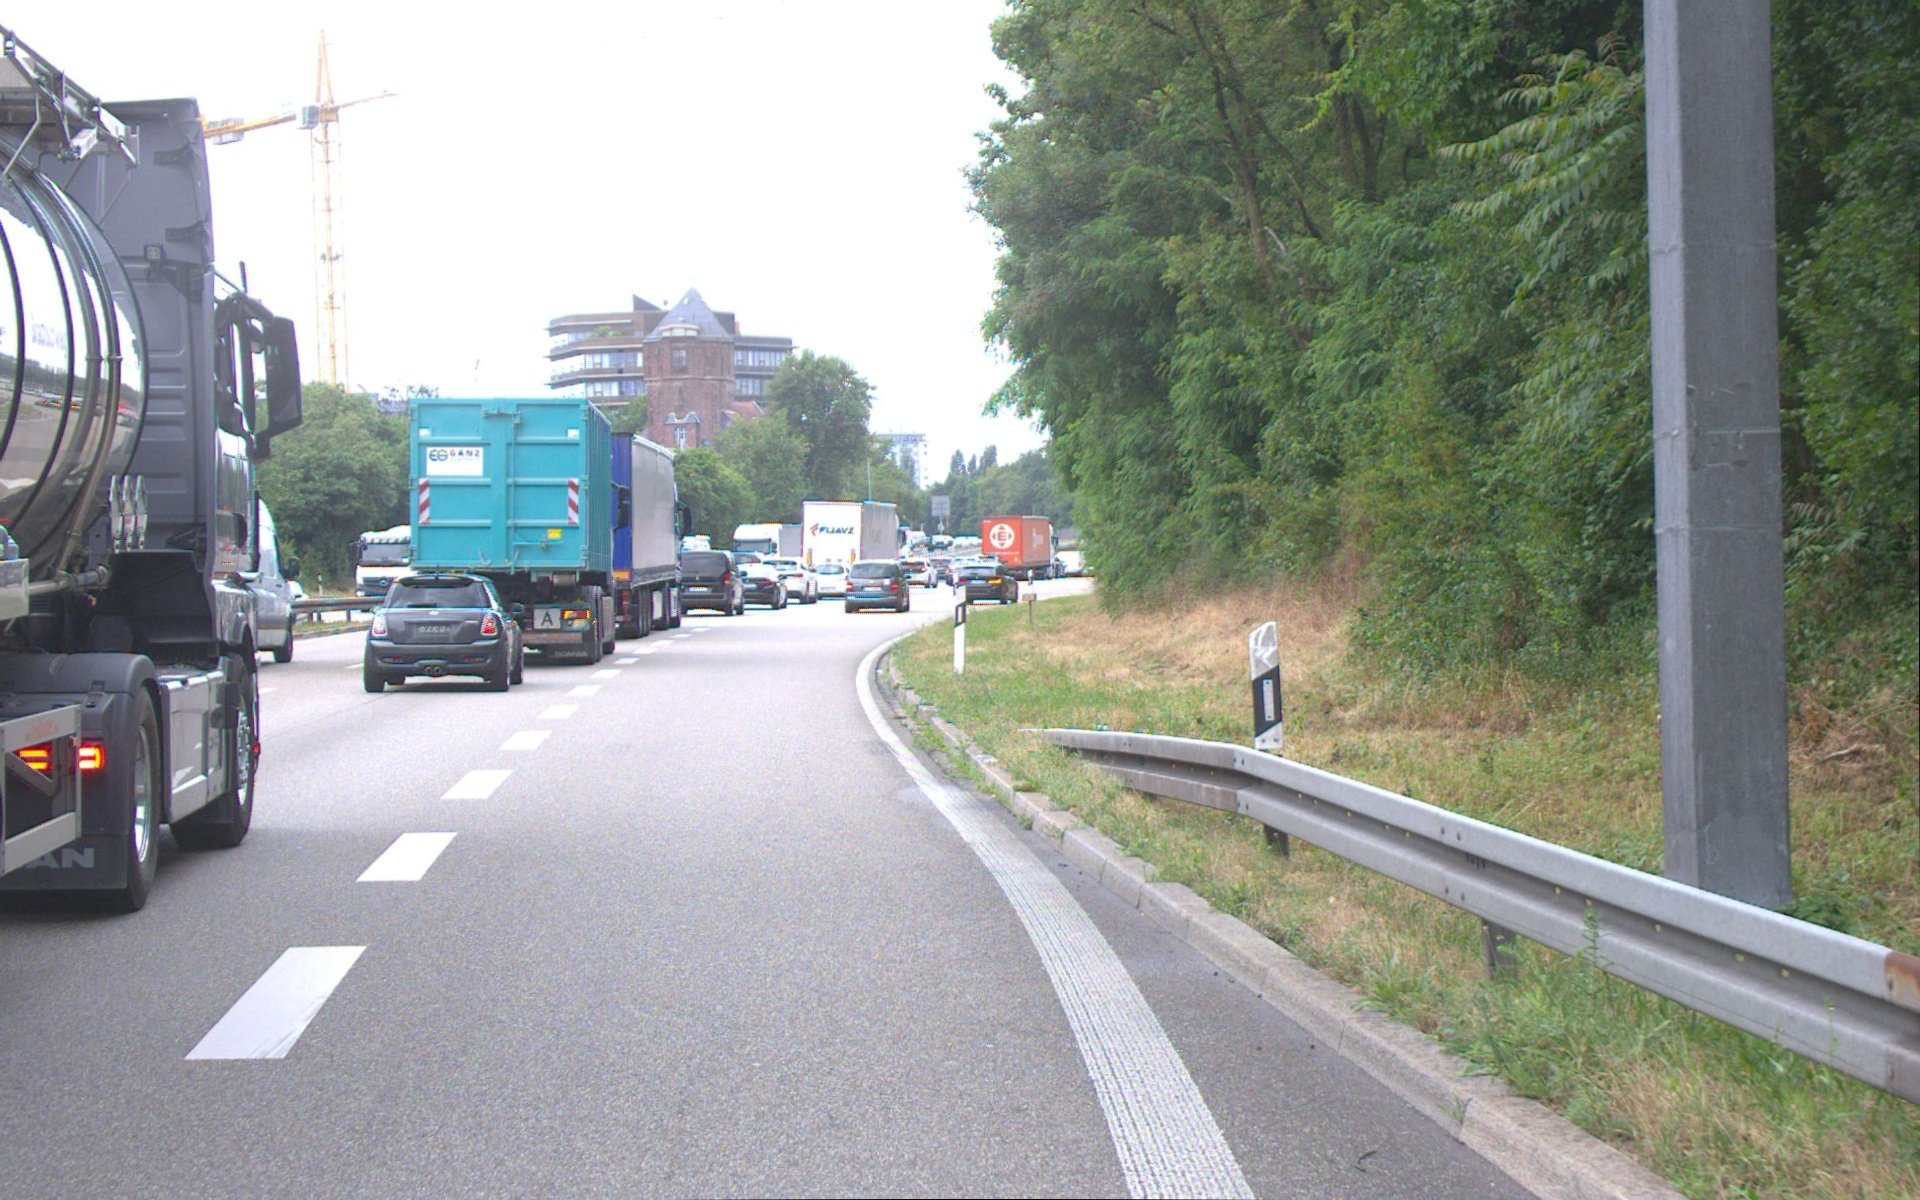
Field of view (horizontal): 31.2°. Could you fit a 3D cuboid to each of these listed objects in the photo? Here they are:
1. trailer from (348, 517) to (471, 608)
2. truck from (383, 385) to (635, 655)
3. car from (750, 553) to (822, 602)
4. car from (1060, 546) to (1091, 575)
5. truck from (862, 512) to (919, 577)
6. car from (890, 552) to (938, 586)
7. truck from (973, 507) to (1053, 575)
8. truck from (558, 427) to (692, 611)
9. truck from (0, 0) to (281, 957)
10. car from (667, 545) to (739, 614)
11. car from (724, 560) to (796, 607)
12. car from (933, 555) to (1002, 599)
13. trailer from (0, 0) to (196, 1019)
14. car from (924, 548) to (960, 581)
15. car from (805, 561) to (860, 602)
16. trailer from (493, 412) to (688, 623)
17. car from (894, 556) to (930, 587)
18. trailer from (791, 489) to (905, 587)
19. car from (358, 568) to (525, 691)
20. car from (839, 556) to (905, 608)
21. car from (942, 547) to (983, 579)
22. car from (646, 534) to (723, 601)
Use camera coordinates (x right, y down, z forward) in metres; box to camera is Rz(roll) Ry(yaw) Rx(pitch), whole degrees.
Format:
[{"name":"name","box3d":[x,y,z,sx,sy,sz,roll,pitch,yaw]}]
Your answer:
[{"name":"trailer","box3d":[-21.669,-1.506,135.946,2.470,3.384,12.463,-1,1,1]},{"name":"truck","box3d":[-6.995,-1.228,54.908,2.929,3.783,11.332,-2,1,-3]},{"name":"car","box3d":[-6.255,-0.829,124.129,1.956,1.689,4.865,-1,1,4]},{"name":"car","box3d":[8.159,-2.783,243.370,1.615,2.007,3.998,-1,1,10]},{"name":"truck","box3d":[-4.496,-3.601,225.601,2.739,4.124,10.696,0,0,4]},{"name":"car","box3d":[-2.291,-1.577,173.695,1.800,1.598,4.257,-2,1,7]},{"name":"truck","box3d":[3.427,-3.744,217.228,3.491,4.059,13.588,-1,1,7]},{"name":"truck","box3d":[-7.567,-1.784,78.322,2.561,4.029,6.590,0,0,-1]},{"name":"truck","box3d":[-5.007,-0.599,16.521,2.682,3.894,6.937,-1,1,-6]},{"name":"car","box3d":[-7.394,-0.602,99.045,1.987,1.891,4.985,-1,1,-4]},{"name":"car","box3d":[-6.444,-0.551,111.249,1.847,1.455,4.831,-1,1,2]},{"name":"car","box3d":[0.280,-0.804,119.386,1.825,1.477,3.999,-1,1,8]},{"name":"trailer","box3d":[-4.413,-0.601,10.822,2.682,3.894,10.989,-1,1,-6]},{"name":"car","box3d":[-1.147,-2.249,216.414,1.818,2.007,3.999,-1,1,6]},{"name":"car","box3d":[-4.971,-0.742,134.970,1.764,1.473,4.089,-3,1,3]},{"name":"trailer","box3d":[-7.550,-1.605,72.053,2.626,4.009,13.464,0,0,0]},{"name":"car","box3d":[-2.477,-1.489,176.715,1.531,1.546,3.418,-1,1,4]},{"name":"trailer","box3d":[-4.713,-2.567,147.835,3.299,4.022,13.095,0,0,5]},{"name":"car","box3d":[-6.370,0.336,42.535,1.747,1.417,3.664,-1,1,-4]},{"name":"car","box3d":[-2.634,-0.555,103.921,1.825,1.477,4.000,-2,1,0]},{"name":"car","box3d":[0.152,-2.009,187.834,1.718,1.678,3.999,0,0,7]},{"name":"car","box3d":[-10.694,-1.280,133.663,1.994,2.545,5.361,-1,1,6]}]
